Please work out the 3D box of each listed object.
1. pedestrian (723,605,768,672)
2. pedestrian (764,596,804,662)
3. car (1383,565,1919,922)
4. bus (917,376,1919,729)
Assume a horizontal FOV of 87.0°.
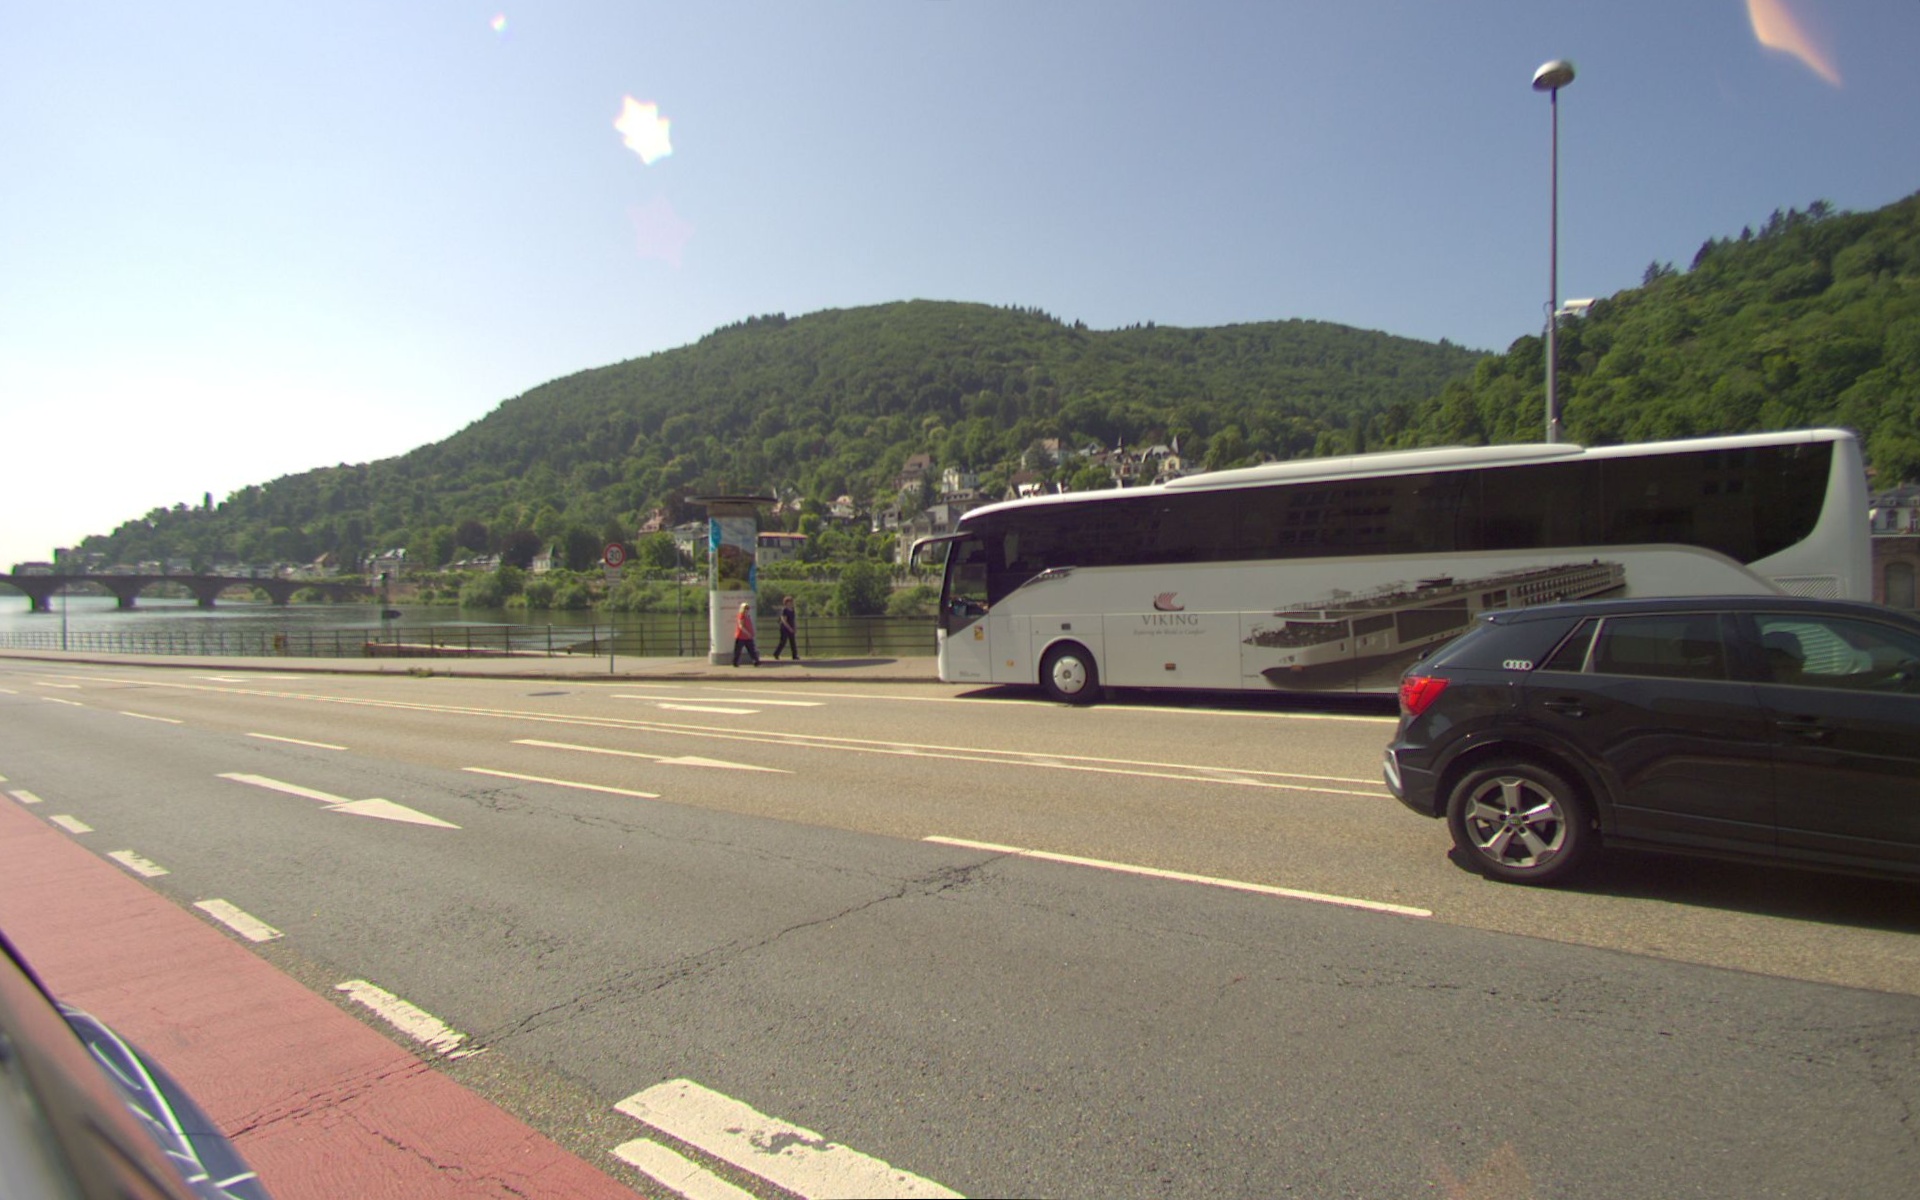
[{"bbox_3d":[-5.305,0.937,25.007,0.813,1.633,0.698,-1,0,27],"label":"pedestrian"},{"bbox_3d":[-4.640,0.756,26.715,0.768,1.722,0.680,-1,0,23],"label":"pedestrian"},{"bbox_3d":[4.559,0.614,5.123,4.143,1.525,1.852,-1,-1,36],"label":"car"},{"bbox_3d":[5.650,-0.413,15.750,13.201,3.828,2.934,-2,2,33],"label":"bus"}]
